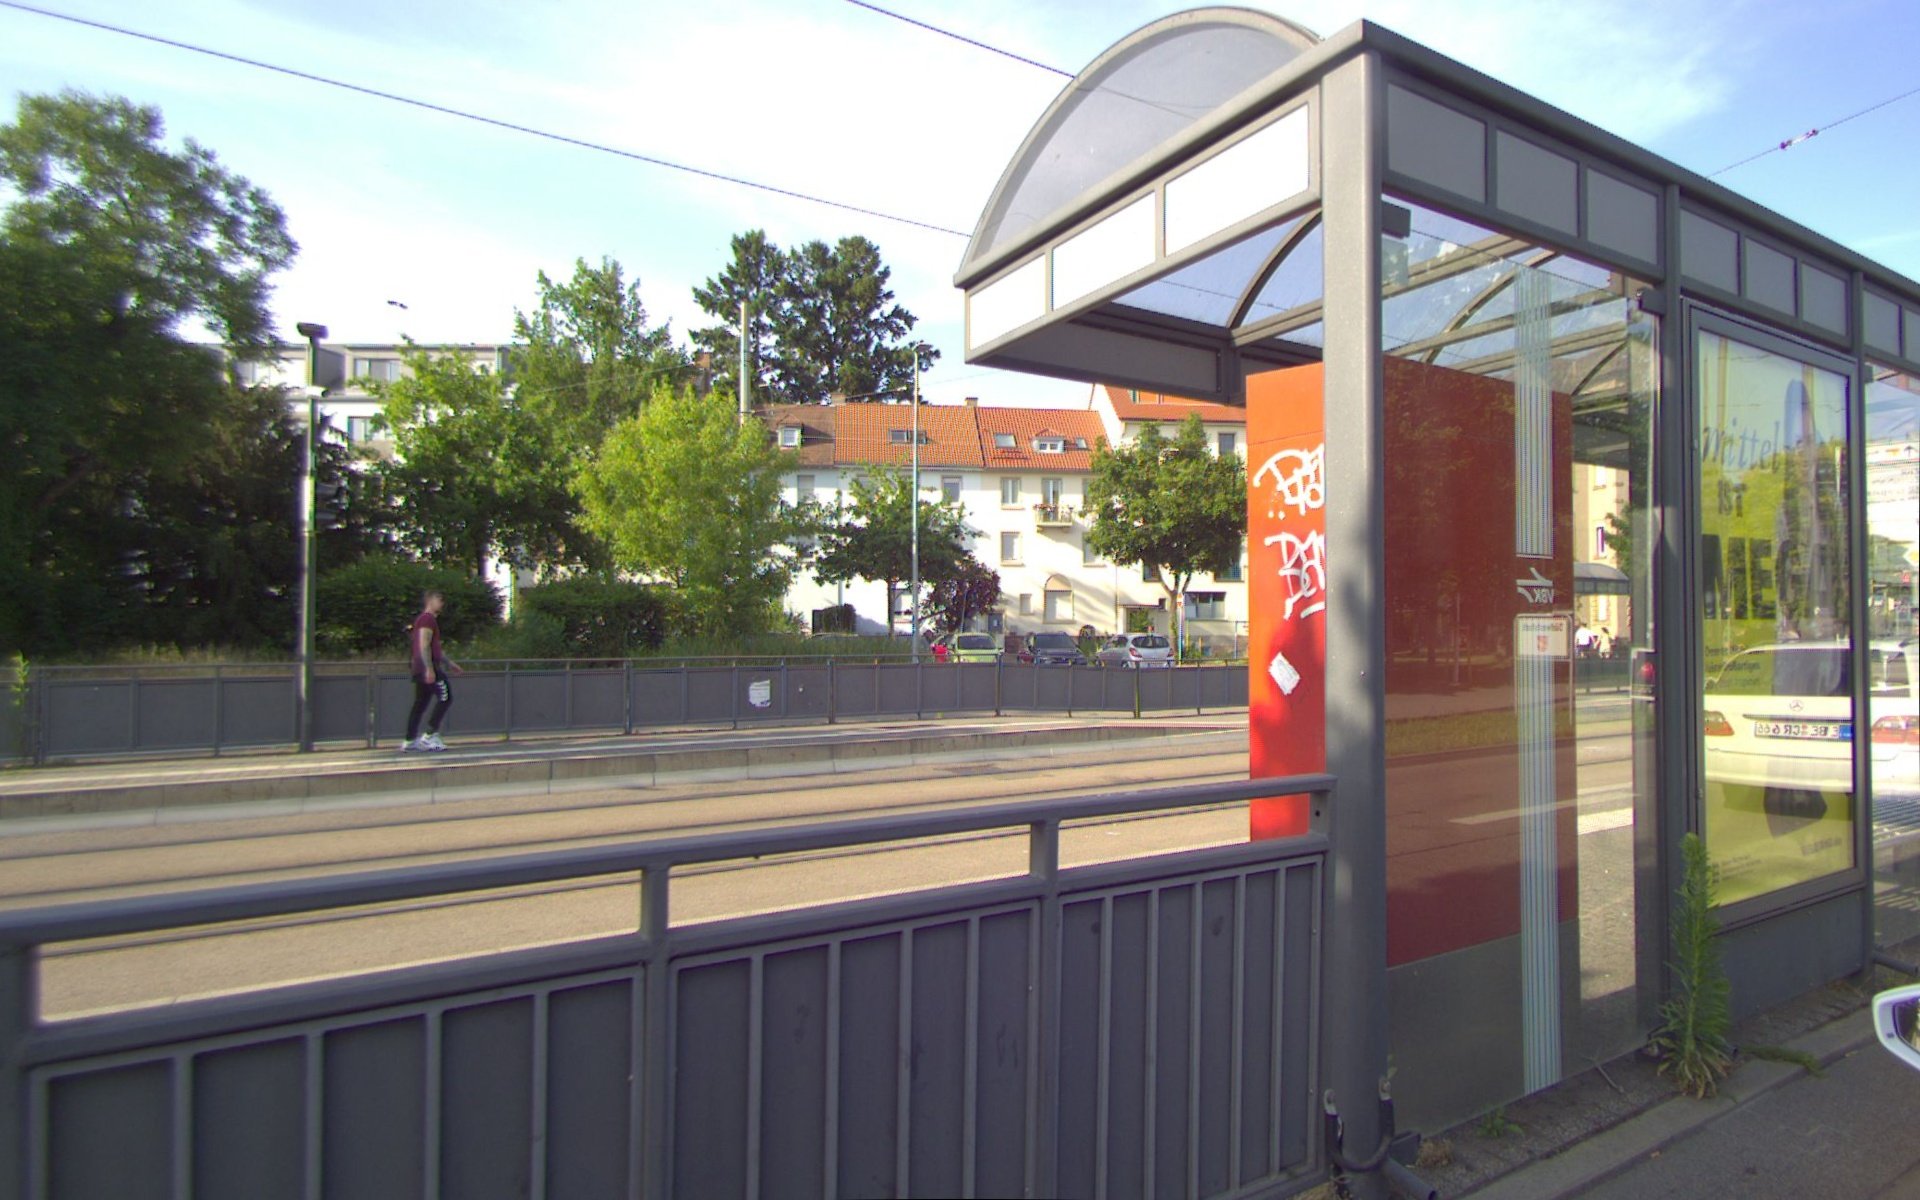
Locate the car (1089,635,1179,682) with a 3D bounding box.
[{"bbox_3d":[5.784,1.918,33.829,1.815,1.505,3.995,0,-2,-9],"label":"car"}]

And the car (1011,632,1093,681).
[{"bbox_3d":[2.968,1.830,33.282,1.815,1.505,3.995,0,-2,-9],"label":"car"}]

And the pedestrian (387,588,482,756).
[{"bbox_3d":[-5.596,0.760,10.705,0.867,1.706,0.551,1,-5,-30],"label":"pedestrian"}]

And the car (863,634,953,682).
[{"bbox_3d":[-1.746,1.815,32.236,1.968,1.416,3.985,1,-2,-18],"label":"car"}]

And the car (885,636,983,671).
[{"bbox_3d":[-1.118,2.237,42.232,3.927,1.416,1.836,0,-2,-9],"label":"car"}]

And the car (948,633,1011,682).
[{"bbox_3d":[0.580,1.854,33.259,1.813,1.505,3.999,0,-2,-3],"label":"car"}]
